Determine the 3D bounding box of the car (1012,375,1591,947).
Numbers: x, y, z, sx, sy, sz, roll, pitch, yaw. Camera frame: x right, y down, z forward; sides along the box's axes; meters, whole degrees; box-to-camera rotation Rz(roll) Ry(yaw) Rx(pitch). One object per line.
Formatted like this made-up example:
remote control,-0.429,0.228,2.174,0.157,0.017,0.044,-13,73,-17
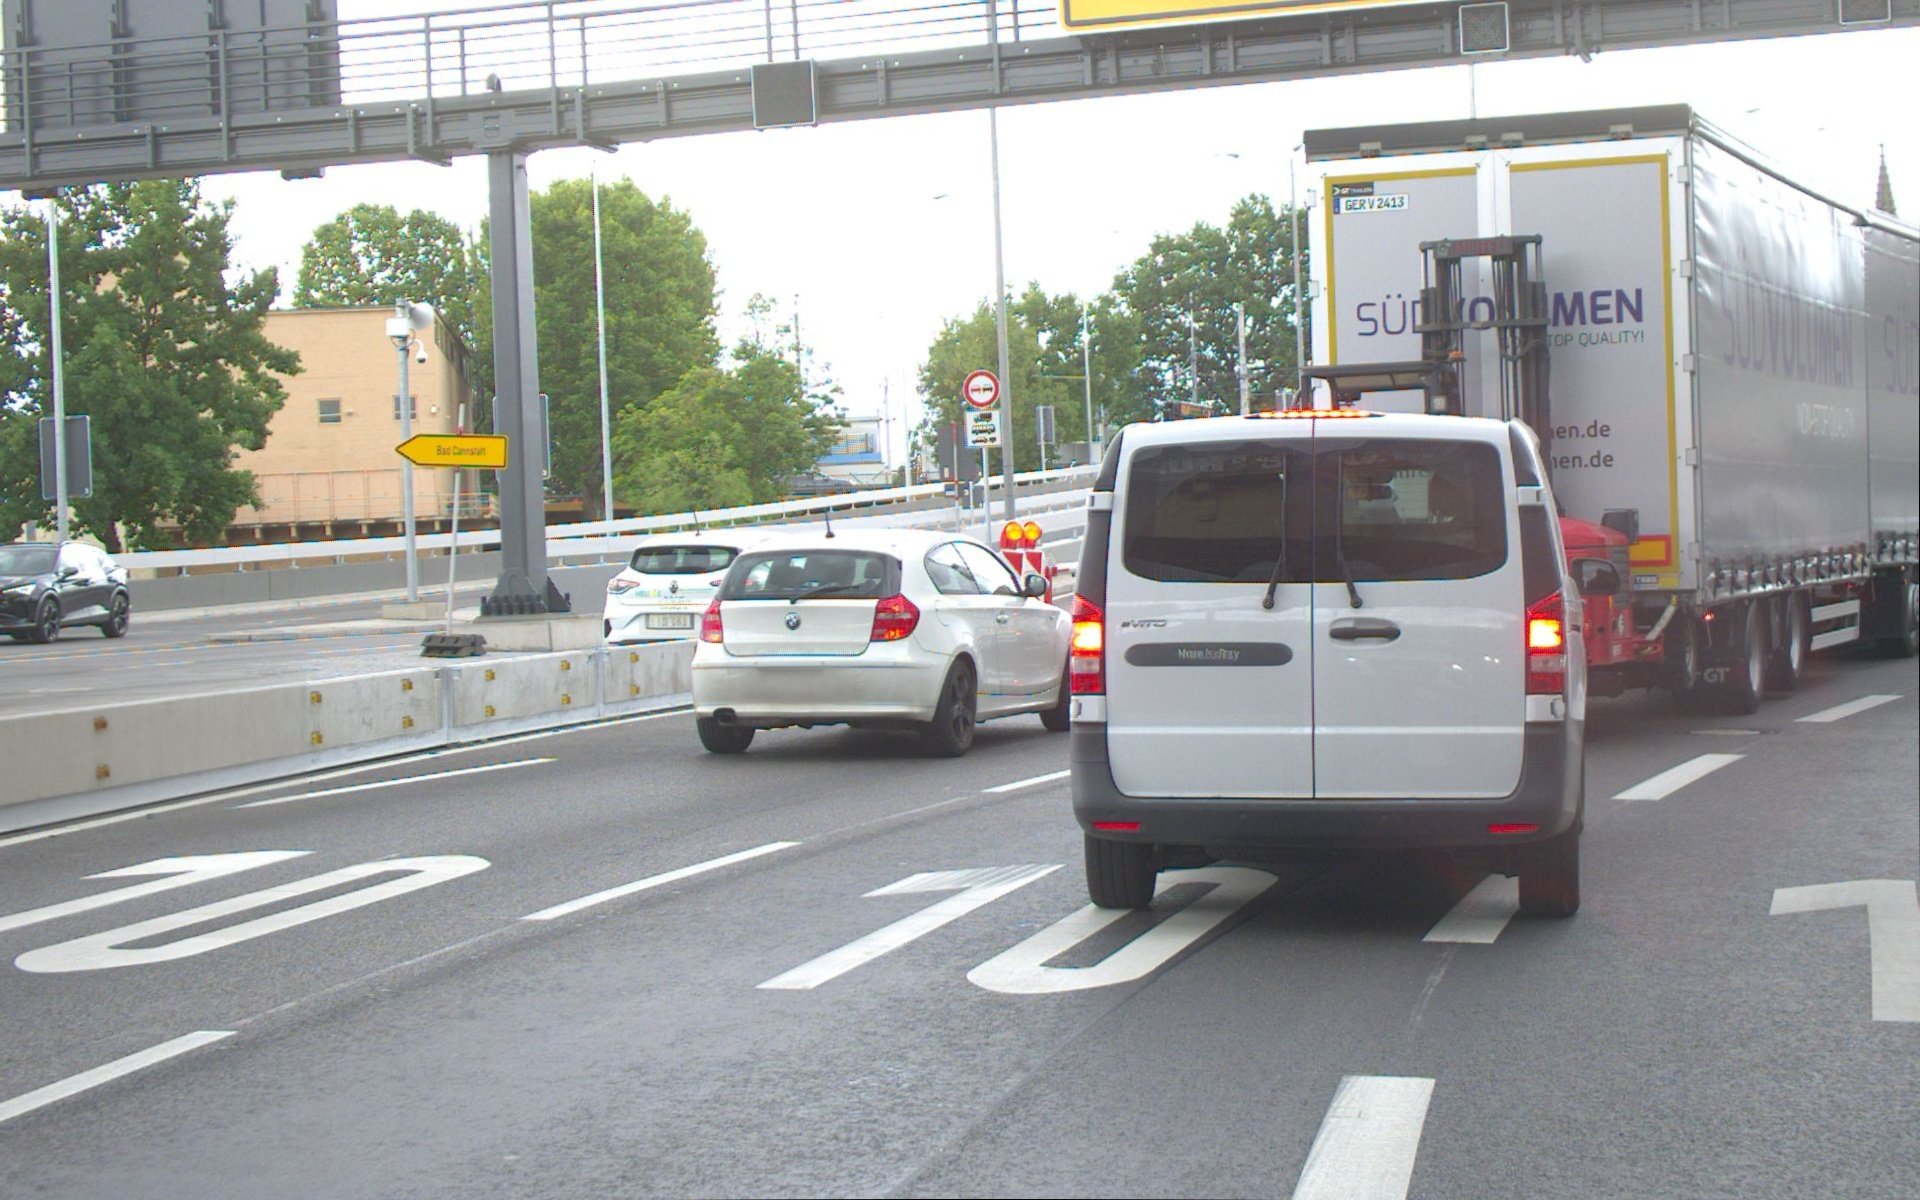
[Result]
car,1.657,0.172,14.648,1.994,1.983,5.197,-1,1,11

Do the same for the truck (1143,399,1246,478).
truck,10.760,-7.402,156.539,2.734,3.378,10.614,0,4,15

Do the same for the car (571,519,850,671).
car,-2.489,-0.078,35.209,1.745,1.427,3.773,2,1,14

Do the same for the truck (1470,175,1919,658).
truck,8.660,-1.682,35.136,3.729,4.127,10.969,0,1,25

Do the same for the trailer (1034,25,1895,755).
trailer,4.257,-1.297,25.233,3.728,4.127,10.971,0,1,22

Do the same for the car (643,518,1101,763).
car,-0.475,0.234,22.813,1.745,1.428,3.996,-2,0,18

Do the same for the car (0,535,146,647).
car,-14.239,-0.169,52.204,1.995,1.579,4.134,2,1,13
